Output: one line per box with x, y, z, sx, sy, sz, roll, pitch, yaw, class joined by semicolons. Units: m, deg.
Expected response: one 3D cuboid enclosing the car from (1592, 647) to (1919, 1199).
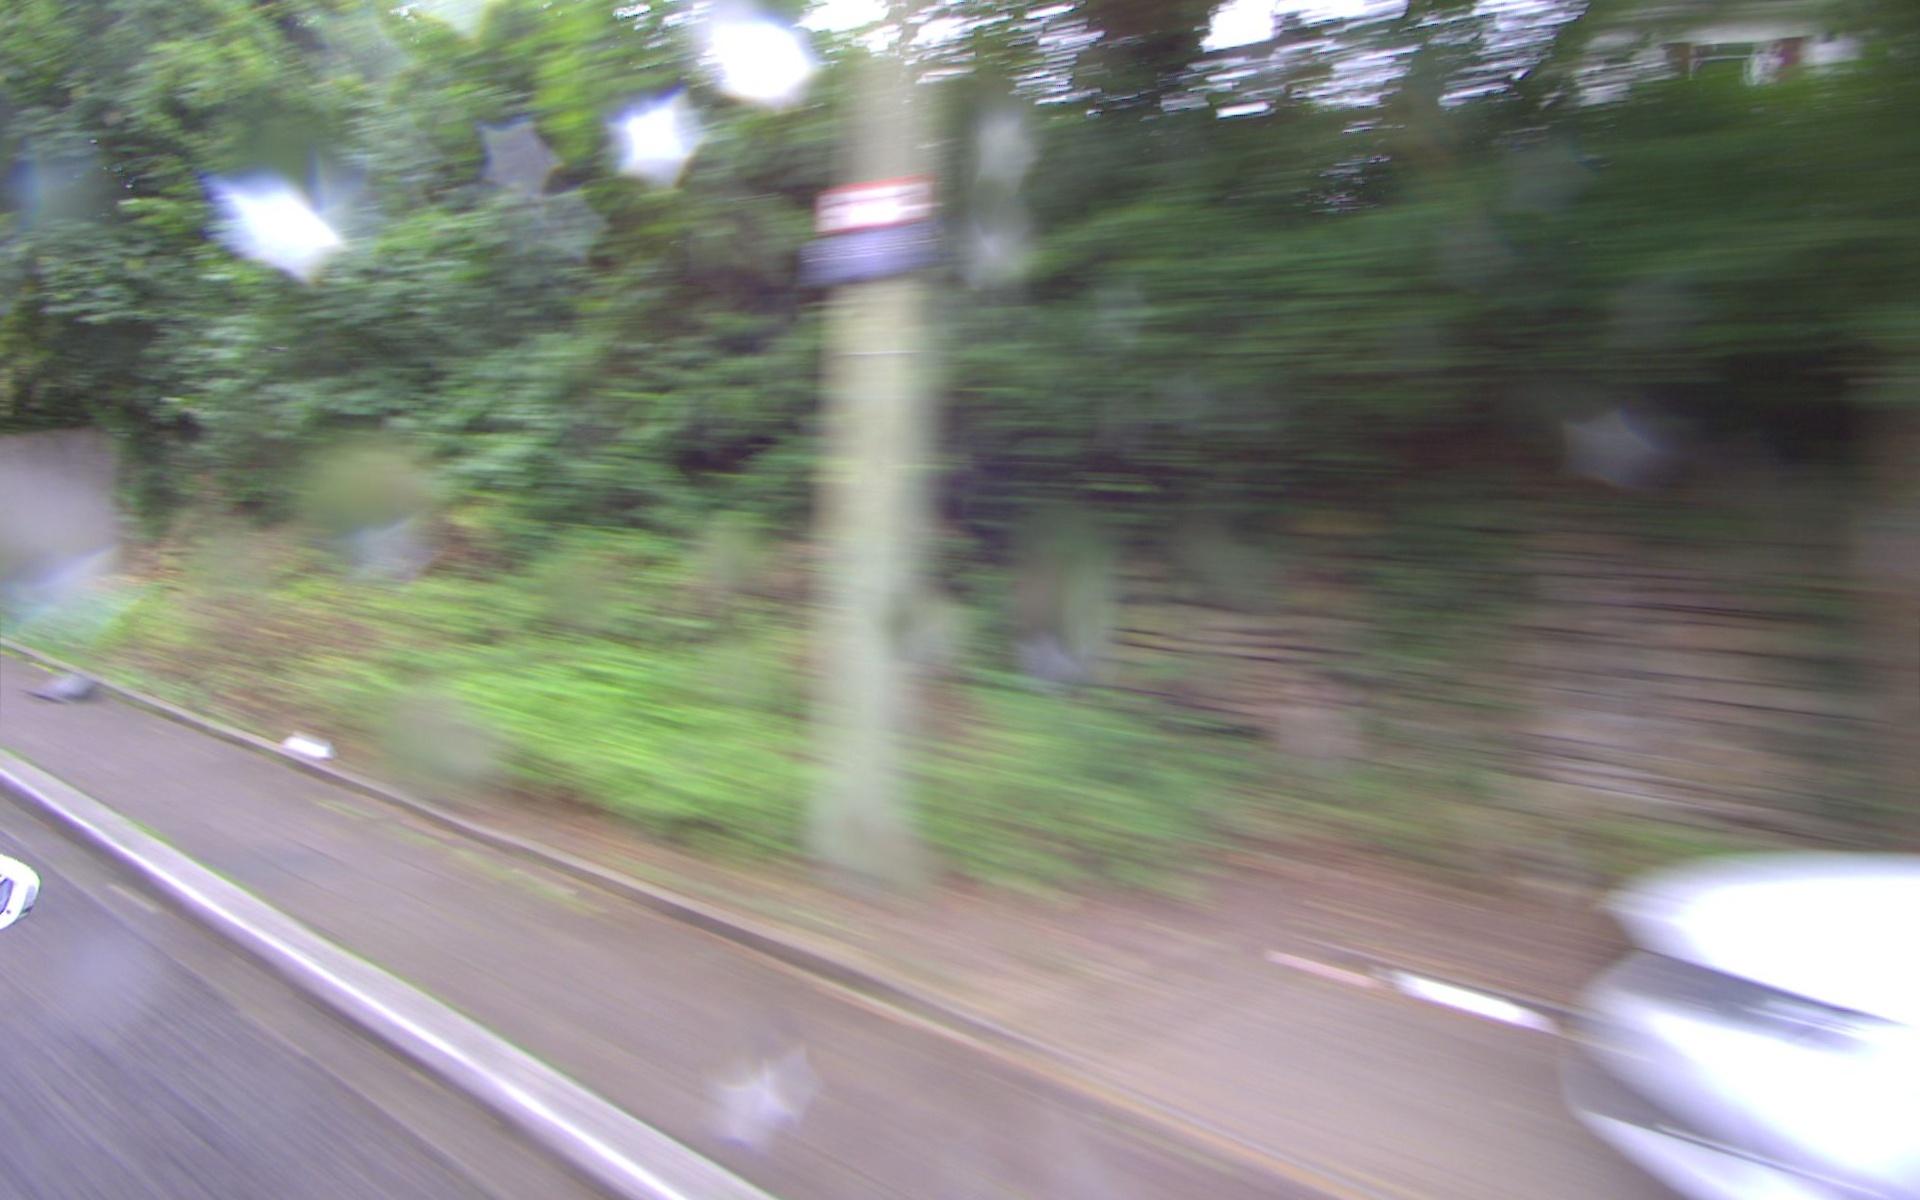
3.882;1.104;1.664;4.664;1.497;1.738;7;2;34;car
